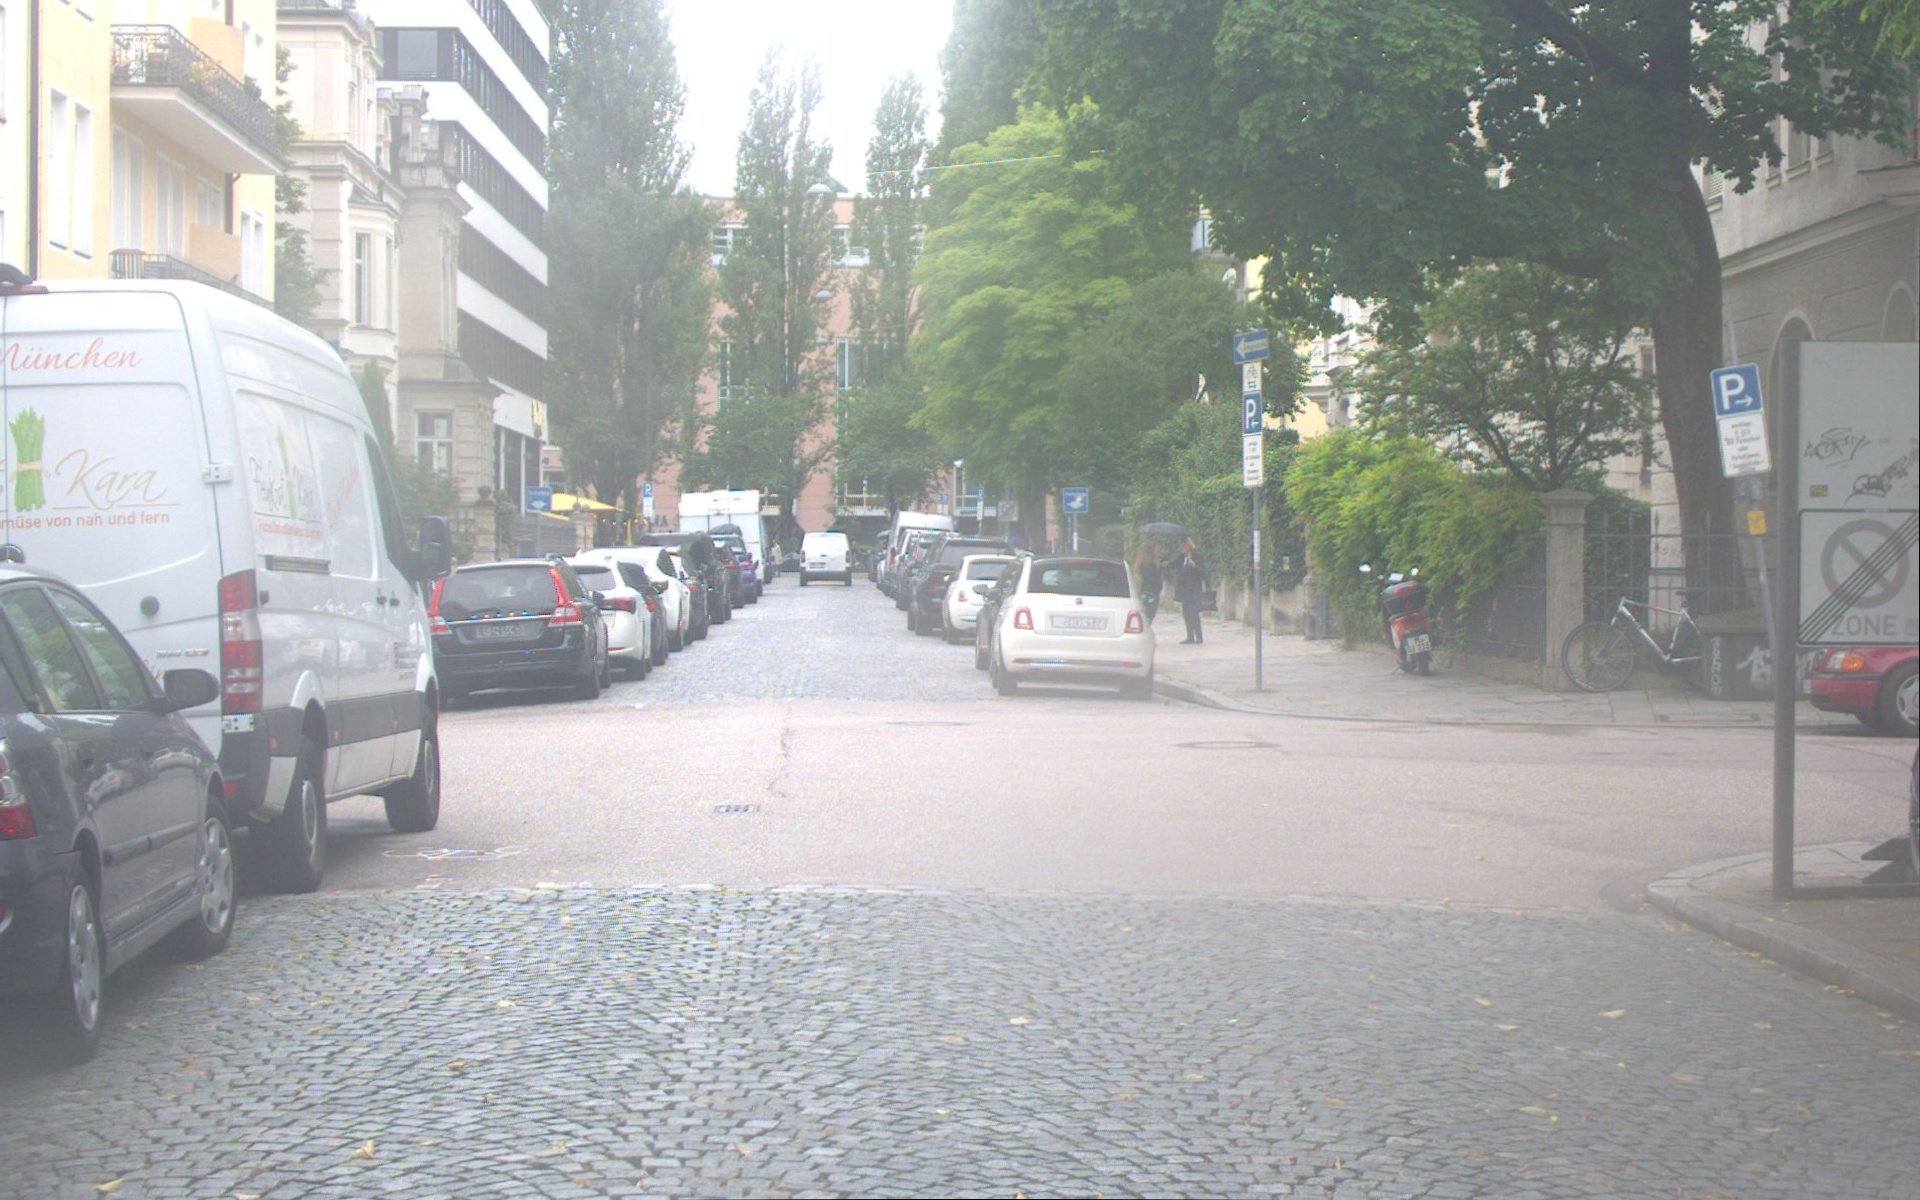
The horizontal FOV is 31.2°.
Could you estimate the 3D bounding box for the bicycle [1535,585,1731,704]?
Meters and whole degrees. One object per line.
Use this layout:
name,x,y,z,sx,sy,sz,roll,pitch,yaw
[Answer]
bicycle,6.533,0.424,33.437,1.838,1.120,0.562,1,1,9

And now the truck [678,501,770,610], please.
truck,-6.851,-1.327,100.239,2.508,3.021,6.386,-1,1,-3

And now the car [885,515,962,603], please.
car,-1.103,-1.249,101.616,1.895,2.418,5.612,4,1,-3

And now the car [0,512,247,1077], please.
car,-3.384,0.479,10.919,1.661,1.477,3.983,1,0,-4

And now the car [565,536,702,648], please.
car,-5.005,-0.136,53.166,1.773,1.642,4.391,1,0,-1

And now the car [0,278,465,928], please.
car,-3.811,-0.003,16.577,1.977,2.565,5.794,-1,0,0

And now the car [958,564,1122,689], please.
car,0.976,0.305,44.068,1.648,1.417,4.633,4,0,-3

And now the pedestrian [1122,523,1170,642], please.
pedestrian,2.923,-0.279,54.044,0.679,1.844,0.577,1,0,-1

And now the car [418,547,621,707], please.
car,-4.672,0.252,37.005,1.852,1.581,4.749,1,0,-4

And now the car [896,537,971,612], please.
car,-0.776,-0.712,96.189,1.800,1.943,4.861,3,0,-3

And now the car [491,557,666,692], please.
car,-4.586,0.262,41.827,1.773,1.531,4.541,1,0,-2

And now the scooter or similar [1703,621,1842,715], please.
scooter or similar,7.673,0.637,32.503,1.183,0.845,0.924,1,0,8

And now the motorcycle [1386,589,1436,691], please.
motorcycle,4.940,0.428,37.720,0.362,1.086,1.403,1,0,0

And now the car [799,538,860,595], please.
car,-4.528,-1.174,119.863,1.996,1.929,4.000,1,0,-1

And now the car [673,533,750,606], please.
car,-6.026,-0.749,83.758,1.773,1.712,4.391,1,0,-3

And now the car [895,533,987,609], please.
car,-0.491,-0.708,83.040,1.963,1.753,4.955,1,0,-3

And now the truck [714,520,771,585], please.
truck,-8.153,-1.774,129.183,1.993,2.338,4.068,1,0,-2

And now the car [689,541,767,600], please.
car,-5.997,-0.767,89.130,1.939,1.454,4.058,1,0,-3

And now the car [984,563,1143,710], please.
car,1.066,0.358,36.909,1.502,1.466,3.795,1,0,-1

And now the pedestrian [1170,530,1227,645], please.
pedestrian,3.759,-0.195,54.281,0.628,1.802,0.660,1,0,-26

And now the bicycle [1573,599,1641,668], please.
bicycle,8.077,0.408,42.953,0.491,0.809,2.273,1,0,2

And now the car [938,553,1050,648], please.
car,0.540,-0.014,57.576,1.630,1.464,3.659,3,0,-2

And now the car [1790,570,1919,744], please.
car,9.118,0.449,27.801,4.468,1.353,1.760,0,1,6

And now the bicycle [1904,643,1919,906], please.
bicycle,4.351,0.770,14.560,0.388,1.143,1.589,0,0,5

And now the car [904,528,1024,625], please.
car,0.027,-0.429,62.664,1.875,1.667,5.491,1,0,-3
